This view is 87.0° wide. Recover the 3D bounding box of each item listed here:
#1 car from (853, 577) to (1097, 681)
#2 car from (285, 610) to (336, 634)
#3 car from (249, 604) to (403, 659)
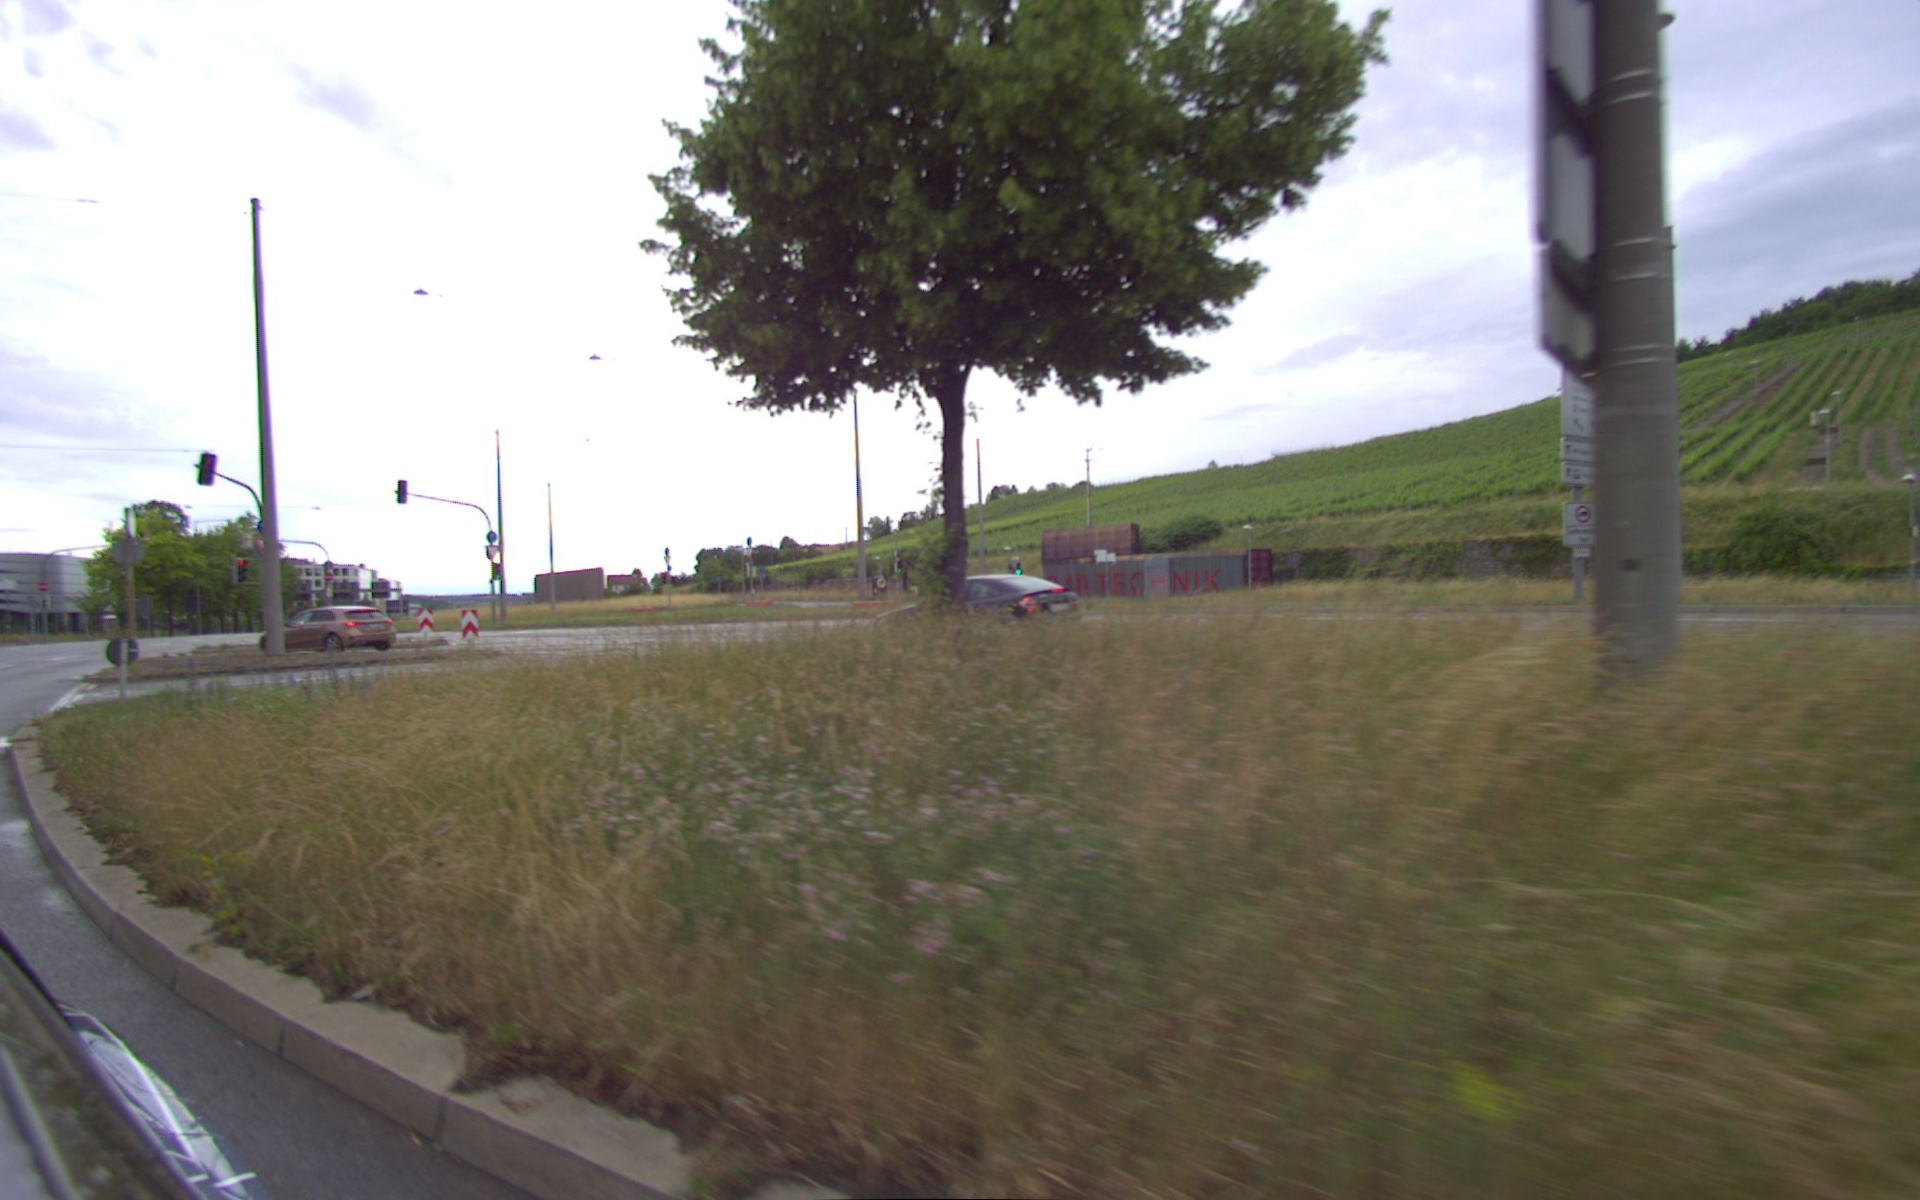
[{"bbox_3d":[0.174,0.485,18.637,4.357,1.666,1.858,-1,1,43],"label":"car"},{"bbox_3d":[-47.323,1.587,73.827,1.768,1.600,3.914,-2,1,-11],"label":"car"},{"bbox_3d":[-19.310,0.962,30.847,4.310,1.472,1.727,-2,1,21],"label":"car"}]
